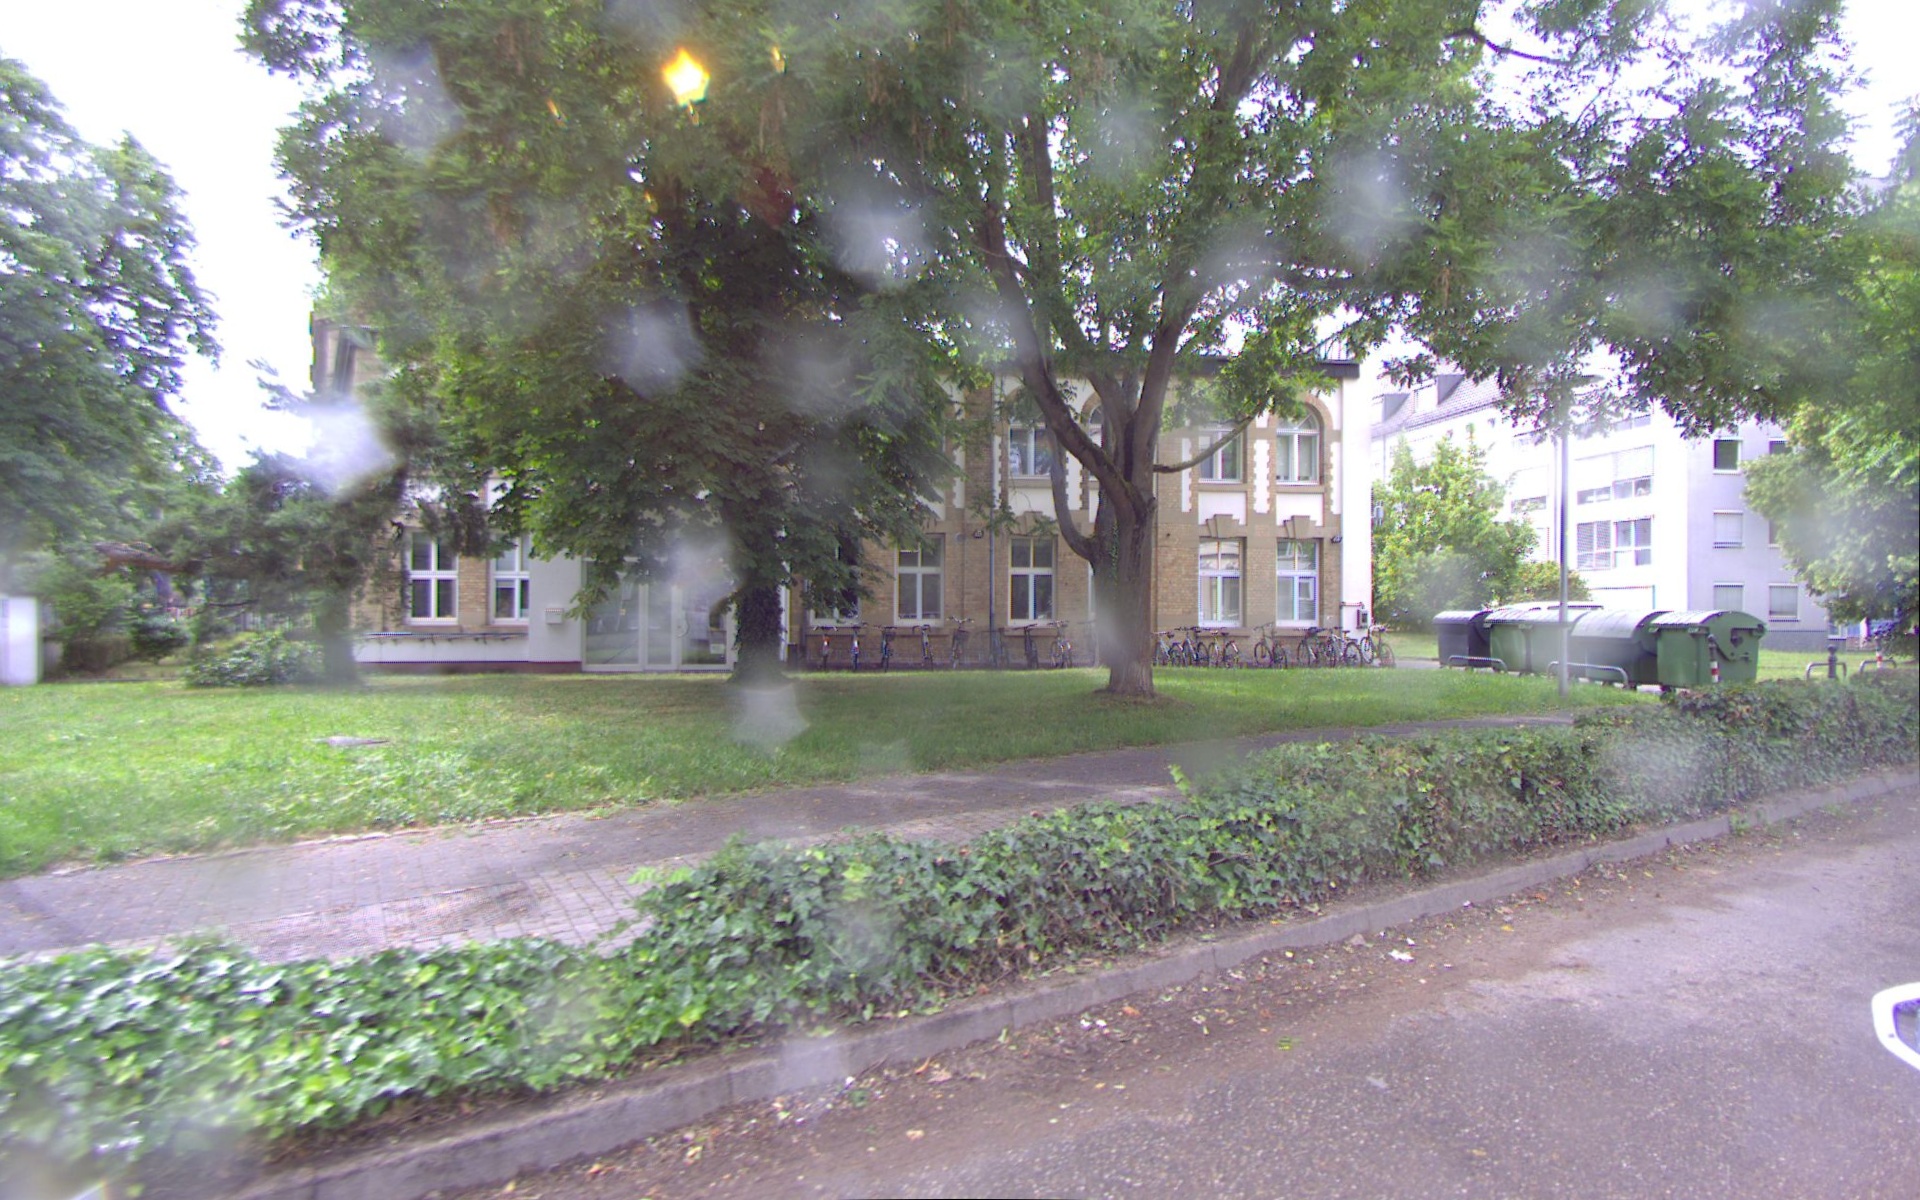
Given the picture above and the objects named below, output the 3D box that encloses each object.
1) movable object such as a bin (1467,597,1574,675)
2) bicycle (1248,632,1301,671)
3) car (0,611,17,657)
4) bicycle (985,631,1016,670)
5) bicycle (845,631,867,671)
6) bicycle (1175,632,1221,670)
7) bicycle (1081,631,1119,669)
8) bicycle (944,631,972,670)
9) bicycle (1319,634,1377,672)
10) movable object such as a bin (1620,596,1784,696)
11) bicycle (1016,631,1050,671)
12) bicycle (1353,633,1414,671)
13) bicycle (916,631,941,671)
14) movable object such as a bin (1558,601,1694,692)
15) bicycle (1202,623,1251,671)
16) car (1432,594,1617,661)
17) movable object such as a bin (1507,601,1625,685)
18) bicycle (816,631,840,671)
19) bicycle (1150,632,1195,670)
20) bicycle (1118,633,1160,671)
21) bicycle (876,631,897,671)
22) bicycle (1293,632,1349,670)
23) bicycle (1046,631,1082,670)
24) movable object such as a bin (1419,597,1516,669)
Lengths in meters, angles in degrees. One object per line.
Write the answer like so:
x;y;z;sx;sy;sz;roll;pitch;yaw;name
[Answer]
11.360;0.708;20.414;1.338;1.490;1.364;2;0;-6;movable object such as a bin
7.561;1.225;24.239;0.444;0.810;2.055;2;0;-5;bicycle
-30.472;1.060;30.566;1.892;1.408;4.105;0;-2;-34;car
0.932;1.173;23.564;0.444;0.810;2.055;2;0;-5;bicycle
-2.396;1.152;23.181;0.444;0.810;2.055;2;0;-5;bicycle
5.685;1.203;24.100;0.444;0.810;2.055;2;0;-5;bicycle
3.311;1.173;23.907;0.444;0.810;2.055;2;0;-5;bicycle
-0.062;1.152;23.443;0.444;0.810;2.055;2;0;-5;bicycle
9.467;1.268;24.554;0.444;0.810;2.055;2;0;-5;bicycle
11.790;0.700;16.033;1.387;1.490;1.559;2;0;-6;movable object such as a bin
1.702;1.182;23.647;0.444;0.810;2.055;2;0;-5;bicycle
10.331;1.262;24.584;0.444;0.810;2.055;2;0;-5;bicycle
-0.753;1.165;23.366;0.444;0.810;2.055;2;0;-5;bicycle
11.612;0.784;17.577;1.338;1.490;1.463;2;0;-6;movable object such as a bin
6.395;1.105;24.190;0.444;1.052;2.055;2;0;-5;bicycle
18.002;0.873;32.184;4.857;2.040;2.000;1;-1;-3;car
11.456;0.791;19.041;1.338;1.490;1.351;2;0;-6;movable object such as a bin
-3.020;1.152;23.126;0.444;0.810;2.055;2;0;-5;bicycle
5.063;1.197;24.018;0.444;0.810;2.055;2;0;-5;bicycle
4.260;1.219;23.976;0.444;0.810;2.055;2;0;-5;bicycle
-1.711;1.161;23.245;0.444;0.810;2.055;2;0;-5;bicycle
8.718;1.226;24.362;0.444;0.810;2.055;2;0;-5;bicycle
2.444;1.178;23.823;0.444;0.810;2.055;2;0;-5;bicycle
11.116;0.709;22.062;1.338;1.490;1.364;2;0;-6;movable object such as a bin
